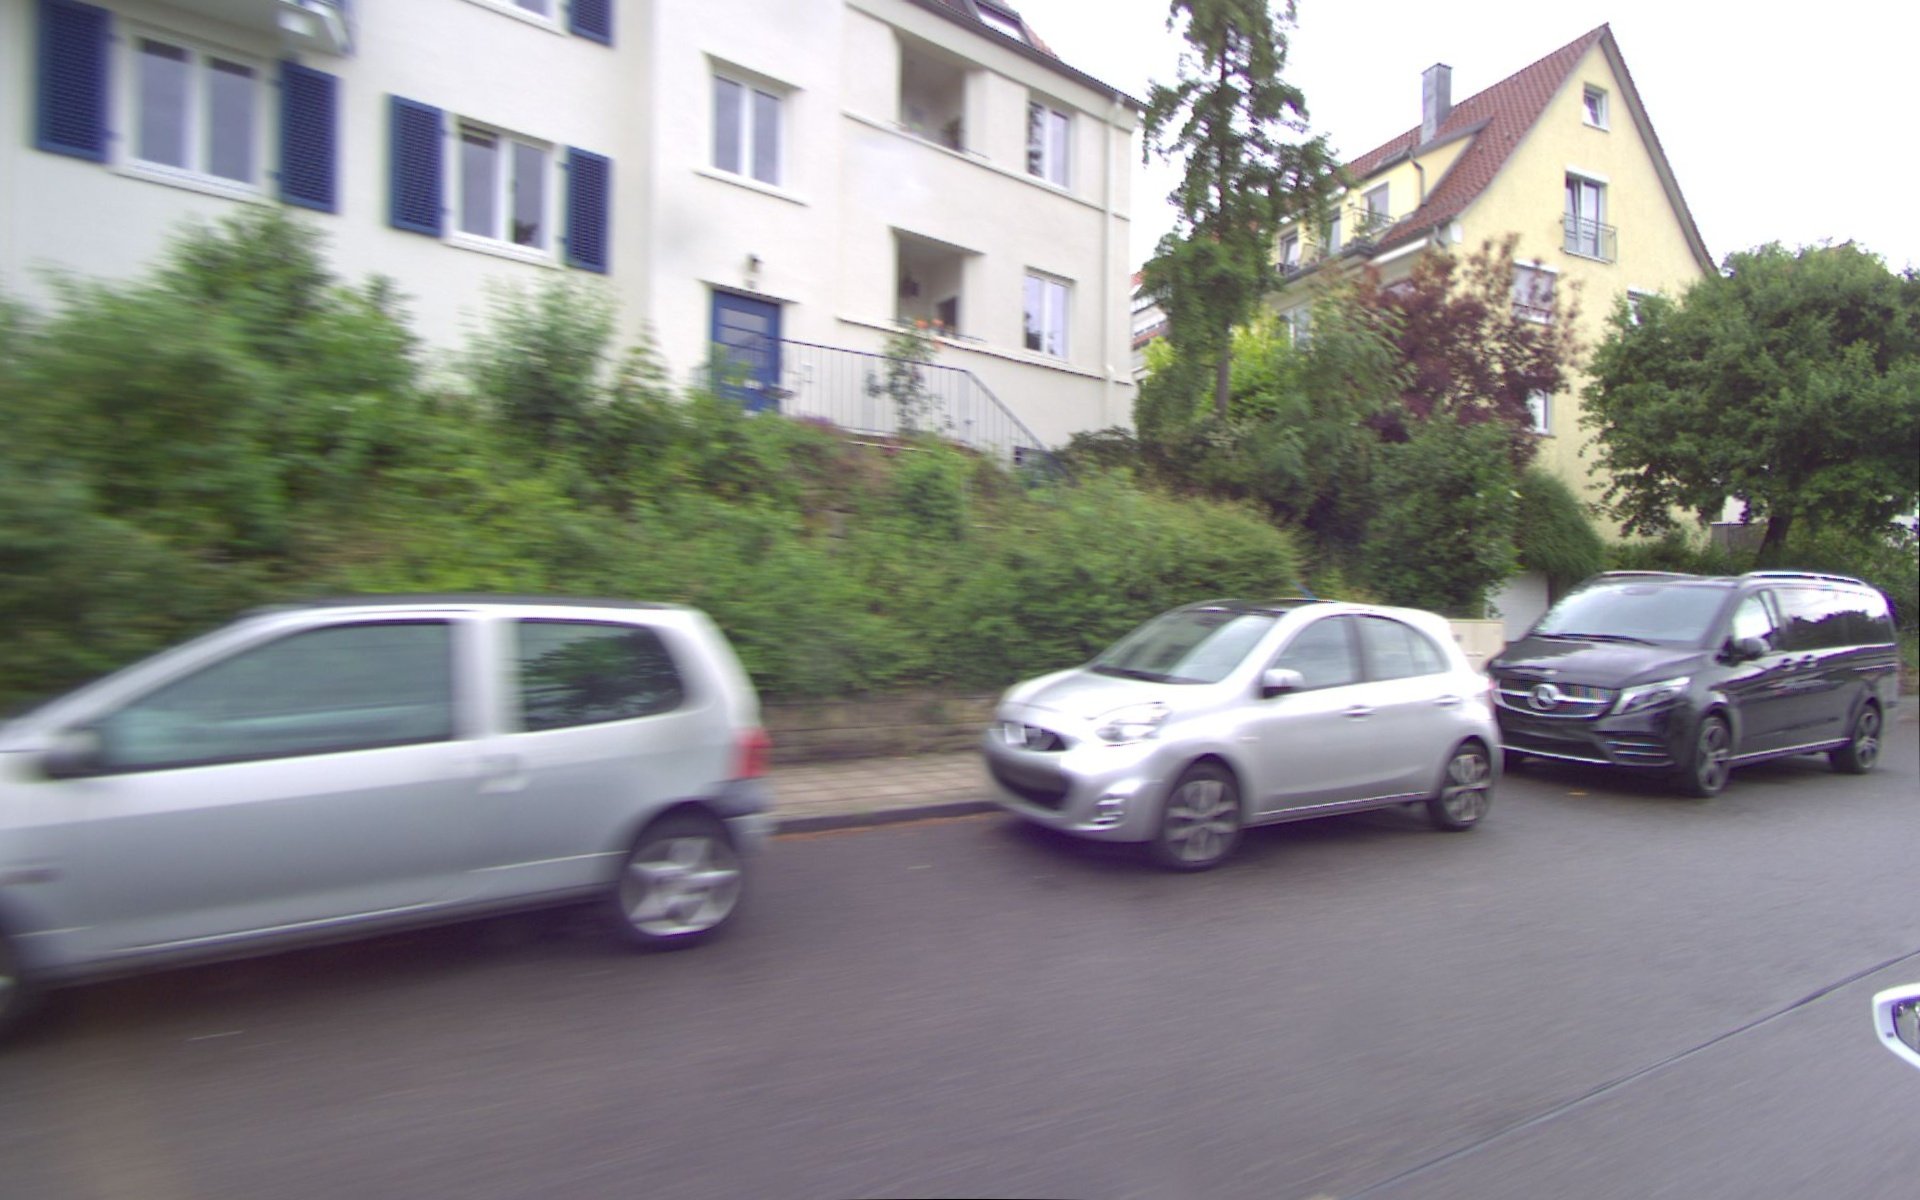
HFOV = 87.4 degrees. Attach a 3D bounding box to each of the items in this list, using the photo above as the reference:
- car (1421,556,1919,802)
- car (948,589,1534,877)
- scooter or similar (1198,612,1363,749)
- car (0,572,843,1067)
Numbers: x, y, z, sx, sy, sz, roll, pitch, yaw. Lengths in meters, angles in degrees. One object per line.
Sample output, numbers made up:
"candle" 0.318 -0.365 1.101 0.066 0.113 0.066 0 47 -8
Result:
"car" 7.175 0.637 9.973 5.292 1.903 1.984 1 1 -30
"car" 1.970 0.716 6.811 3.769 1.466 1.686 2 0 -31
"scooter or similar" 3.335 0.785 10.382 1.896 1.273 0.498 -1 1 -31
"car" -2.459 0.629 4.161 3.587 1.466 1.637 -1 1 -32
